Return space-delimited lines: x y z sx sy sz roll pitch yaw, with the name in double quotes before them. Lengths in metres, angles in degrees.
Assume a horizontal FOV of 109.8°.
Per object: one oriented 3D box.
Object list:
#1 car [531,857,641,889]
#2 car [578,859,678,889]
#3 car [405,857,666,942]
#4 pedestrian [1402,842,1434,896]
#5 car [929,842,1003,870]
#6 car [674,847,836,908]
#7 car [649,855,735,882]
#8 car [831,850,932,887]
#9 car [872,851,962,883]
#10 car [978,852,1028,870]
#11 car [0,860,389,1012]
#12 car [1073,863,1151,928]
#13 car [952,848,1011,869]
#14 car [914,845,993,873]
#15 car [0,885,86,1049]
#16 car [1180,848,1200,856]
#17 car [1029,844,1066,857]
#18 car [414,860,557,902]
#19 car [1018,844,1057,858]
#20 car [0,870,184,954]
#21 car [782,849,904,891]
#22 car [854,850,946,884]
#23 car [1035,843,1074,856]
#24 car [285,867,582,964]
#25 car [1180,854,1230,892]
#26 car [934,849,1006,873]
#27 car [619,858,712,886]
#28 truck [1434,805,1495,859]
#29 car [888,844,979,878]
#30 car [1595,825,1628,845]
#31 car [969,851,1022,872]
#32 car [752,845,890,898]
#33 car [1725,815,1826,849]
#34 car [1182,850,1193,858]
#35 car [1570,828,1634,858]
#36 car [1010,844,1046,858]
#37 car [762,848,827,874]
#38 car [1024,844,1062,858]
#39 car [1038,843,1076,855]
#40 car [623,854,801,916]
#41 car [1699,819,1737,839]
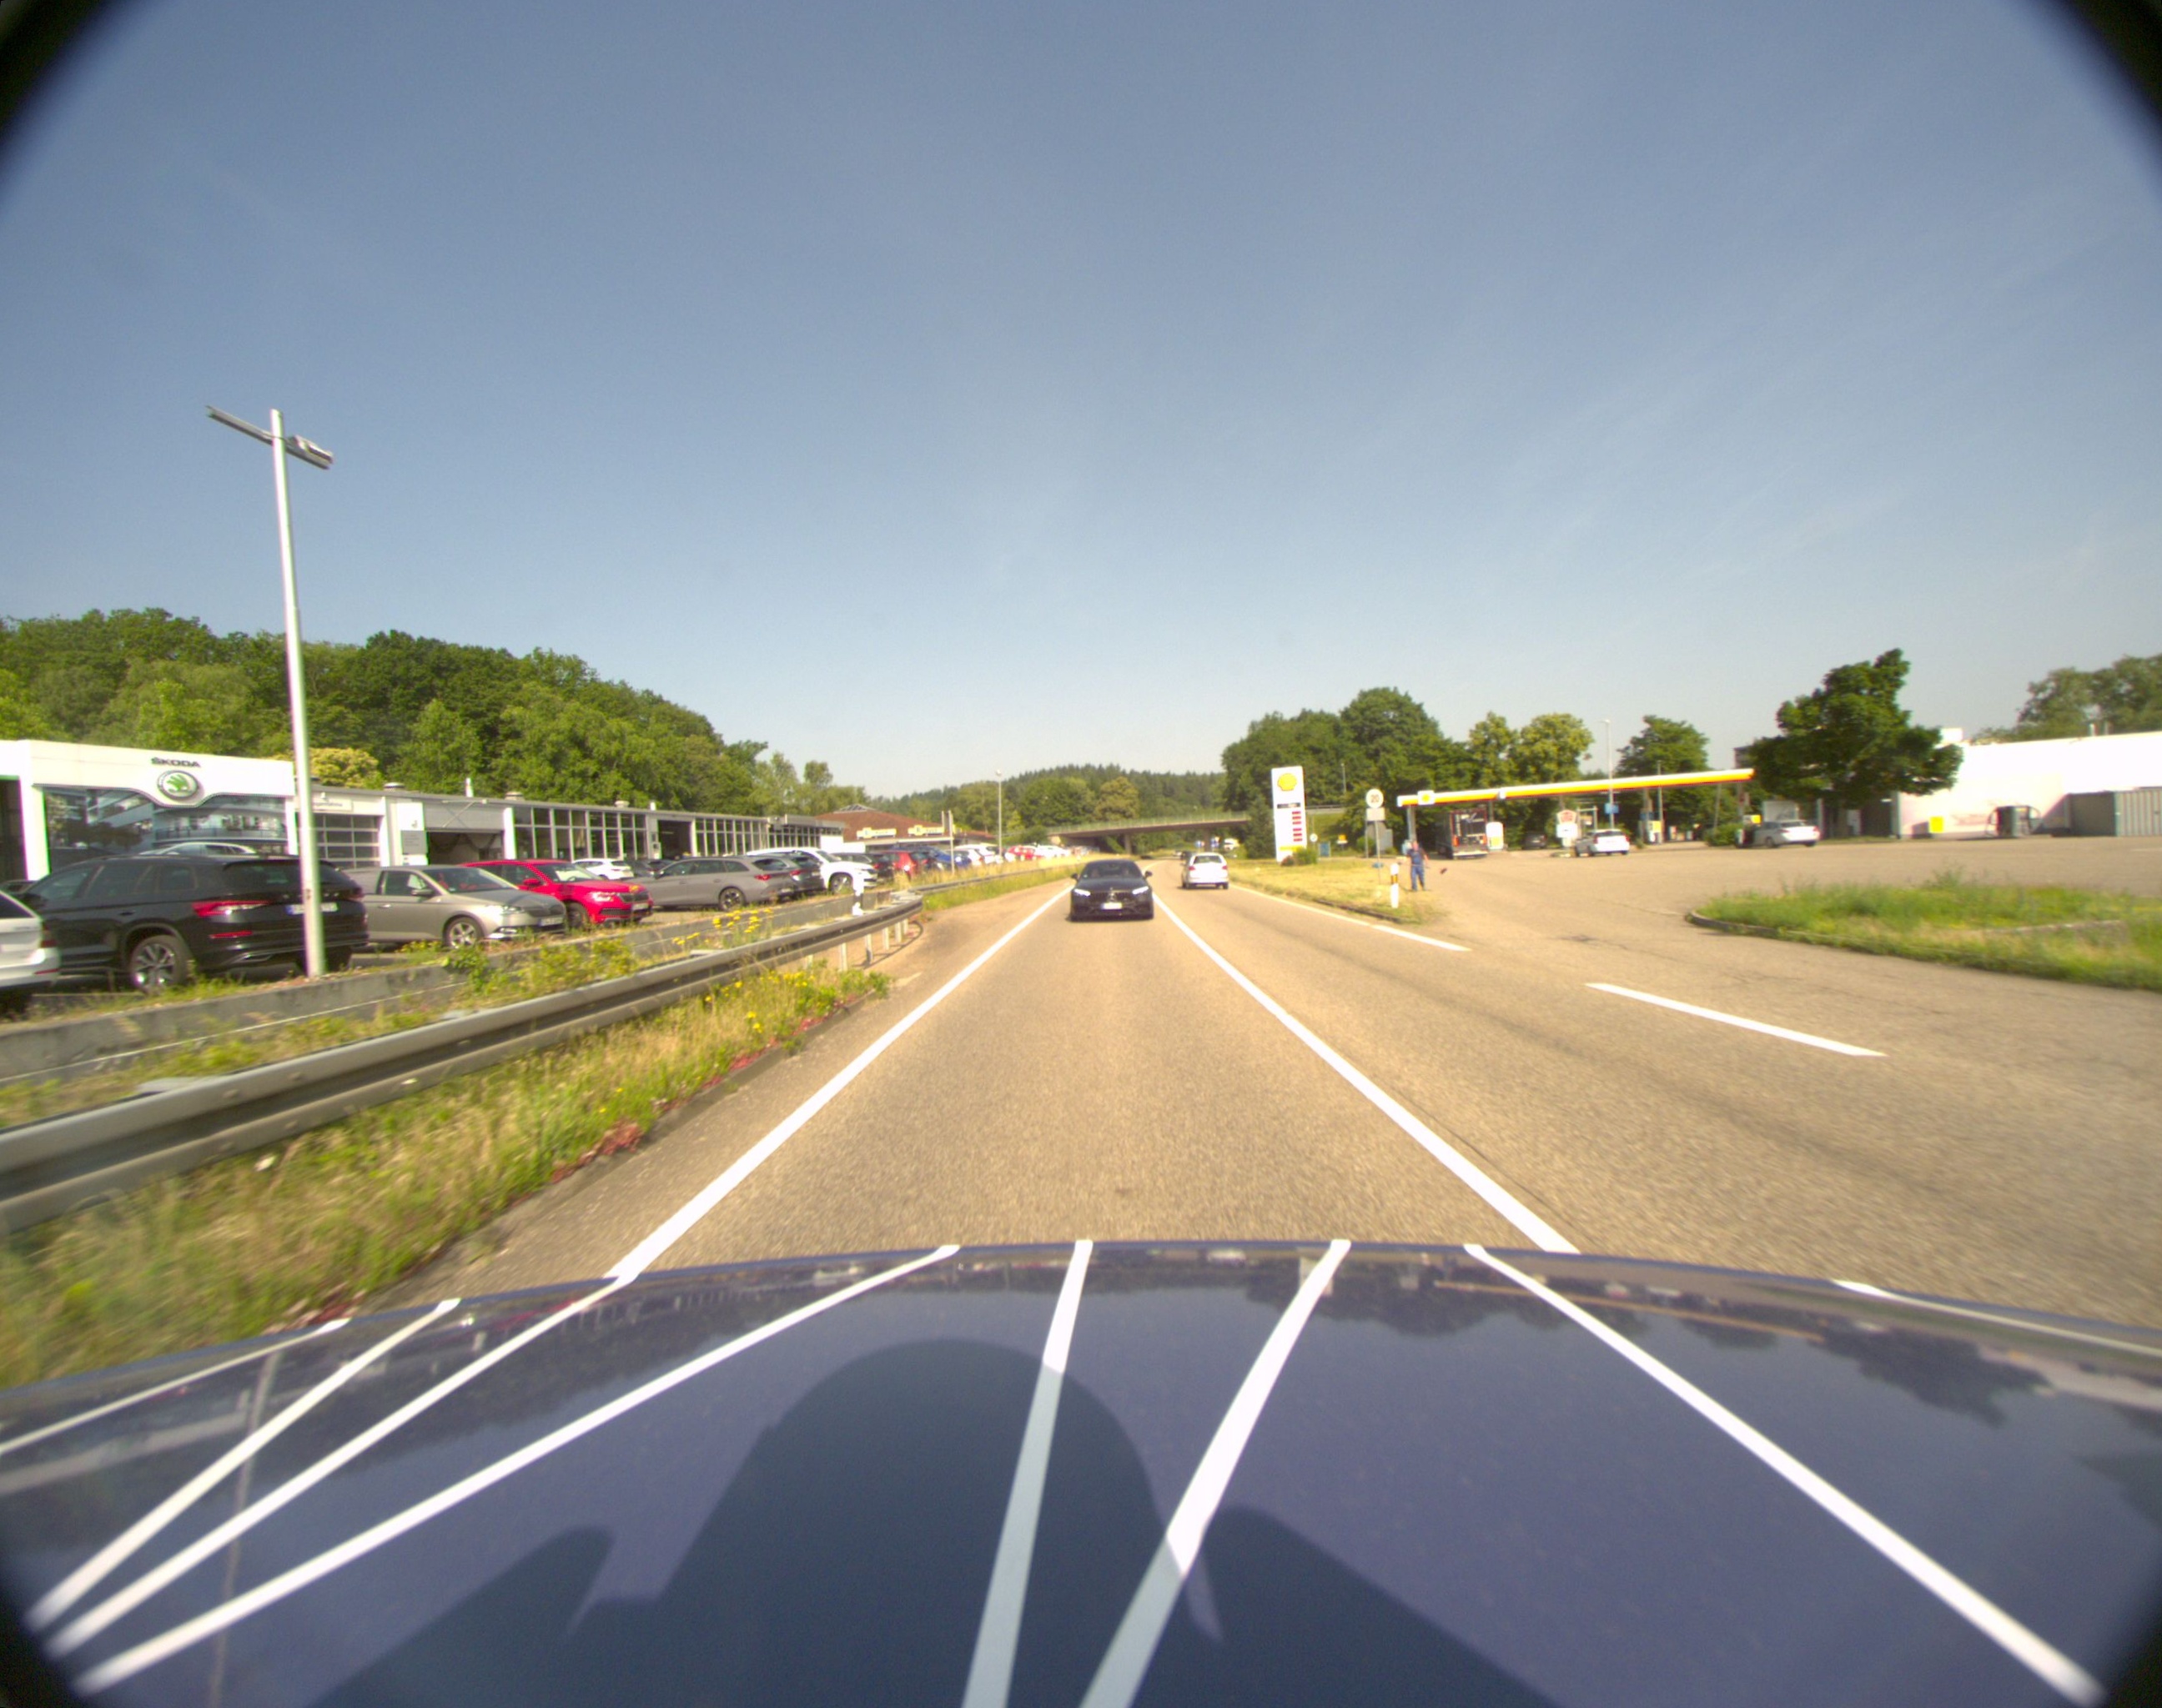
"car" -24.678 0.914 37.985 4.320 1.456 1.791 -1 1 3
"car" -24.129 1.054 40.530 4.319 1.456 1.791 -1 1 5
"car" -11.017 0.893 15.519 4.091 1.543 1.782 -1 1 5
"pedestrian" 10.759 0.465 24.222 0.848 1.680 1.146 -1 1 26
"car" -7.002 0.124 46.373 4.053 1.608 1.881 -1 1 7
"car" -9.766 0.678 22.922 3.995 1.622 1.921 -2 1 6
"car" -23.580 0.873 46.130 4.320 1.516 1.791 -1 1 3
"car" -8.435 0.588 32.325 3.739 1.398 1.823 -2 1 4
"car" -8.164 0.633 38.107 3.996 1.443 1.951 -2 1 4
"car" -6.730 0.637 65.974 3.995 1.456 1.878 -1 1 6
"car" -11.417 0.955 9.605 3.886 1.654 1.841 -1 1 8
"car" 0.882 0.954 19.025 1.715 1.382 4.149 -1 0 5
"car" -7.765 0.348 59.545 4.294 1.543 2.032 -1 1 2
"car" -7.238 0.267 43.357 4.047 1.498 1.807 -1 1 7
"car" -11.932 1.090 6.904 4.043 1.477 1.723 -1 1 8
"car" 16.069 -0.267 112.286 1.809 1.165 4.097 -1 0 -7
"car" -3.907 -0.433 88.890 3.995 1.456 1.878 -1 1 6
"car" -24.453 1.101 31.341 4.322 1.556 1.789 -1 1 -5
"car" -4.729 -0.329 82.536 3.995 1.456 1.878 -1 1 6
"car" -21.830 1.169 16.267 4.710 1.556 1.793 -1 1 19
"car" -9.081 0.605 29.255 3.996 1.443 1.951 -2 1 4
"car" -8.370 0.609 35.362 3.741 1.420 1.779 -2 1 4
"car" -3.220 -0.582 92.692 4.570 1.456 1.878 -1 1 6
"car" -10.923 1.013 12.979 3.739 1.450 1.665 -1 1 5
"car" 5.147 0.744 31.822 1.681 1.464 3.707 -1 0 3
"car" -7.395 0.427 50.705 4.357 1.486 1.880 -1 1 7
"car" -23.725 1.009 43.472 4.320 1.456 1.791 -1 1 3
"truck" 33.221 -1.853 66.475 3.056 4.110 16.795 -1 1 21
"car" -7.917 0.359 41.081 4.365 1.630 1.951 -2 1 6
"car" 46.936 -1.664 67.262 1.905 1.633 4.007 -3 0 28
"car" -7.062 0.591 63.036 3.995 1.543 1.807 -3 0 6
"car" -8.928 0.582 26.250 3.994 1.622 1.922 -2 1 9
"car" 36.110 -1.094 39.680 1.718 1.557 4.662 -2 0 12
"car" 19.613 -0.009 139.973 1.680 1.348 3.926 -1 0 12
"car" 29.428 -0.617 43.034 1.717 1.557 4.663 -2 0 18
"car" -5.553 -0.317 80.072 3.544 1.456 1.805 -1 1 6
"car" -22.066 0.524 58.600 4.319 1.913 1.791 -1 1 5
"car" -4.286 -0.377 85.492 3.995 1.456 1.878 -1 1 6
"car" -2.990 -0.593 96.224 4.570 1.456 1.878 -1 1 6
"car" -9.714 0.796 20.198 3.846 1.450 1.746 -2 1 4
"car" 52.718 -2.071 62.982 1.994 1.451 4.007 -3 0 34
